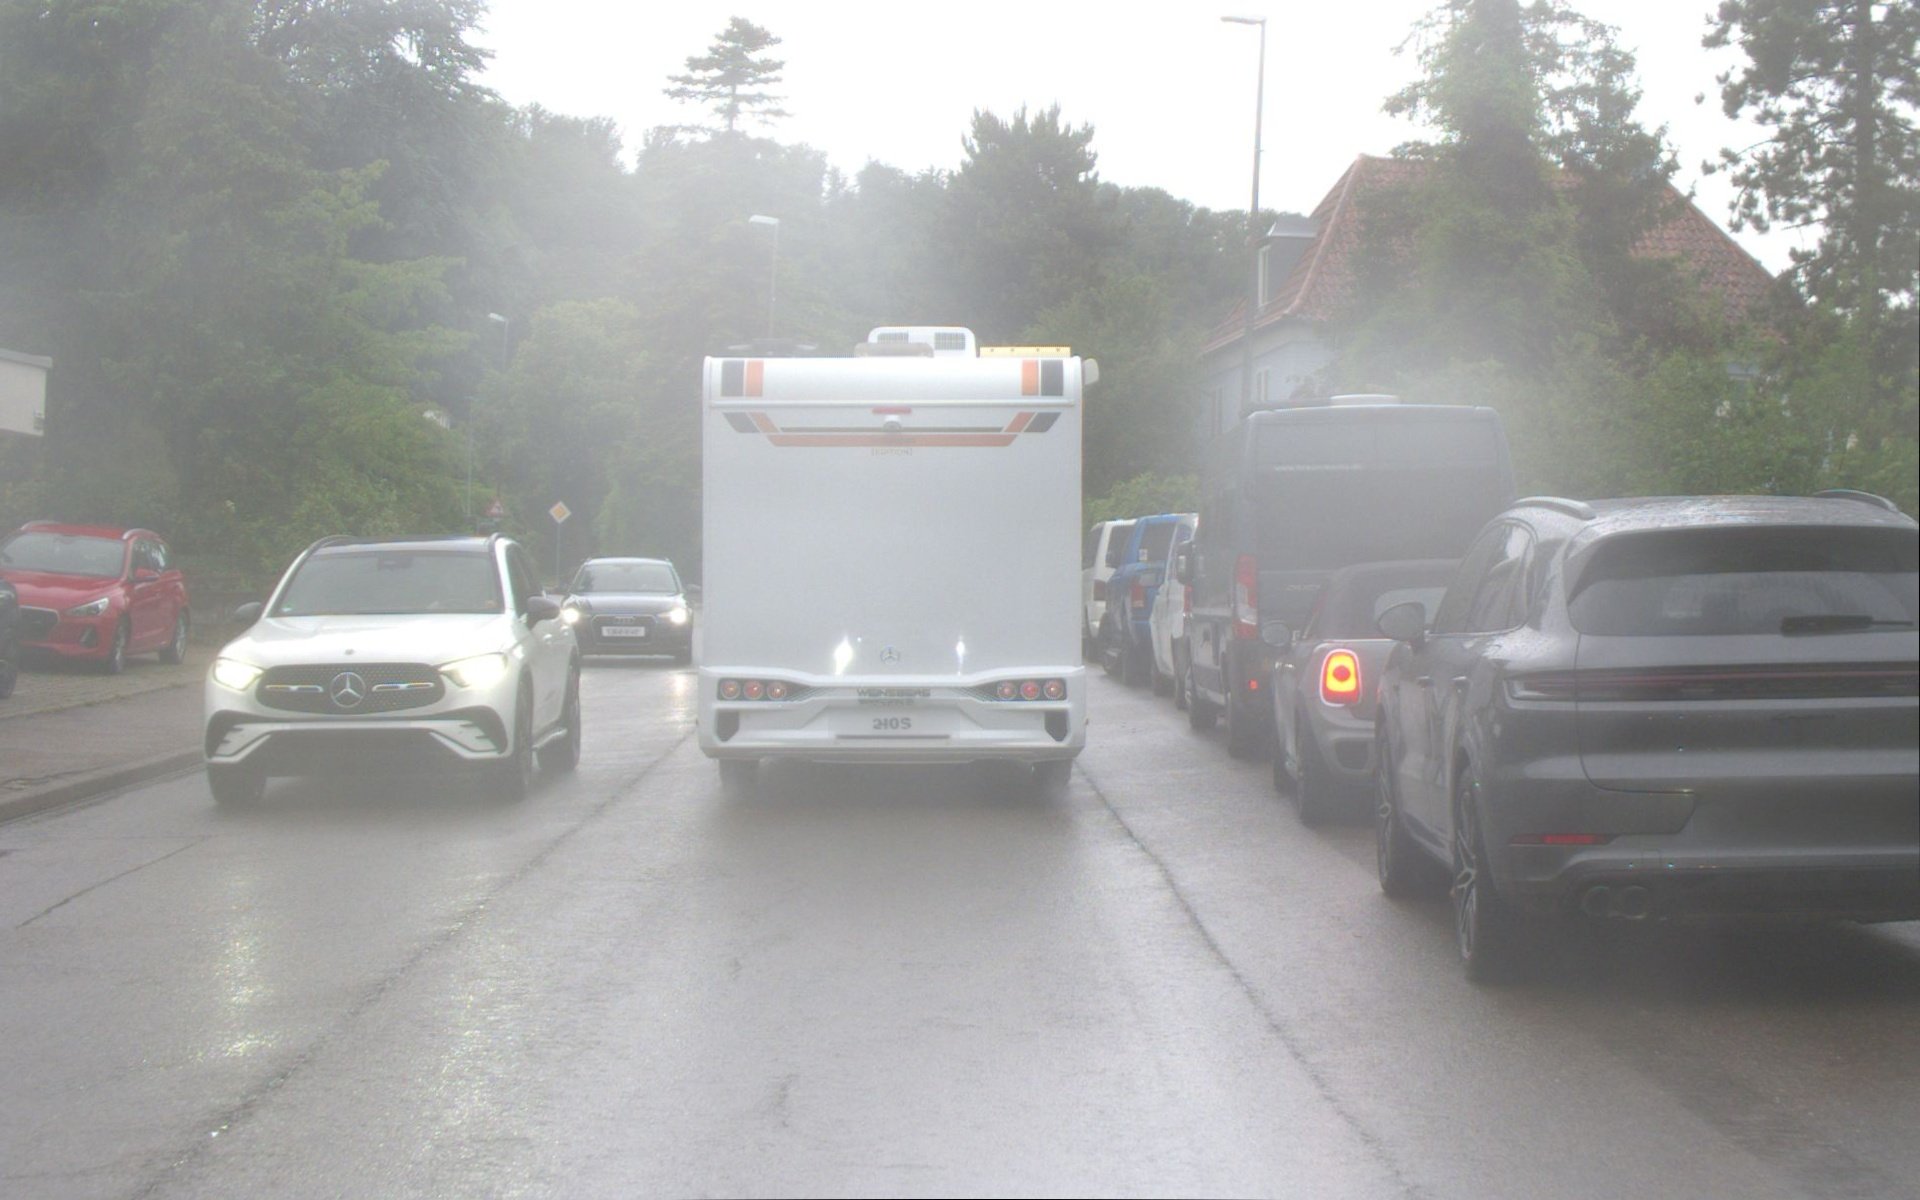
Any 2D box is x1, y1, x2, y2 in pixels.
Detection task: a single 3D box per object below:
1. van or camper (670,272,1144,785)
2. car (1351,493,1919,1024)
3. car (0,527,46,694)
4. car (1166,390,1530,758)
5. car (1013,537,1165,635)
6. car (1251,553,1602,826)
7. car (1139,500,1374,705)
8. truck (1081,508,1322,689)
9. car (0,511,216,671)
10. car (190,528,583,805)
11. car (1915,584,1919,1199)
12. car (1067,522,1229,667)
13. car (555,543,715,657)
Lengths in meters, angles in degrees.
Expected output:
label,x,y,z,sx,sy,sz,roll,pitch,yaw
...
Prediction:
label,x,y,z,sx,sy,sz,roll,pitch,yaw
van or camper,-0.304,-0.372,22.606,2.616,2.843,6.031,2,-1,0
car,2.691,0.464,13.151,1.936,1.666,4.694,0,1,1
car,-8.887,0.055,28.091,1.633,1.391,4.239,4,1,0
car,2.823,-0.220,26.412,2.031,2.497,5.956,0,1,-1
car,1.987,-0.244,54.234,1.685,1.452,4.058,1,1,-8
car,2.613,0.446,19.970,1.589,1.424,3.797,0,1,1
car,2.811,-0.013,33.633,1.827,1.836,5.270,0,1,0
truck,2.700,-0.069,40.031,2.113,1.845,6.619,2,1,-1
car,-9.243,-0.135,36.114,1.774,1.432,4.588,5,1,0
car,-3.550,0.344,22.043,1.798,1.562,4.384,1,1,-1
car,3.188,0.819,5.208,1.846,1.678,5.639,0,0,-1
car,2.606,-0.118,48.779,1.860,1.914,5.080,1,1,-1
car,-4.423,-0.034,47.333,1.774,1.432,4.362,-2,1,0
